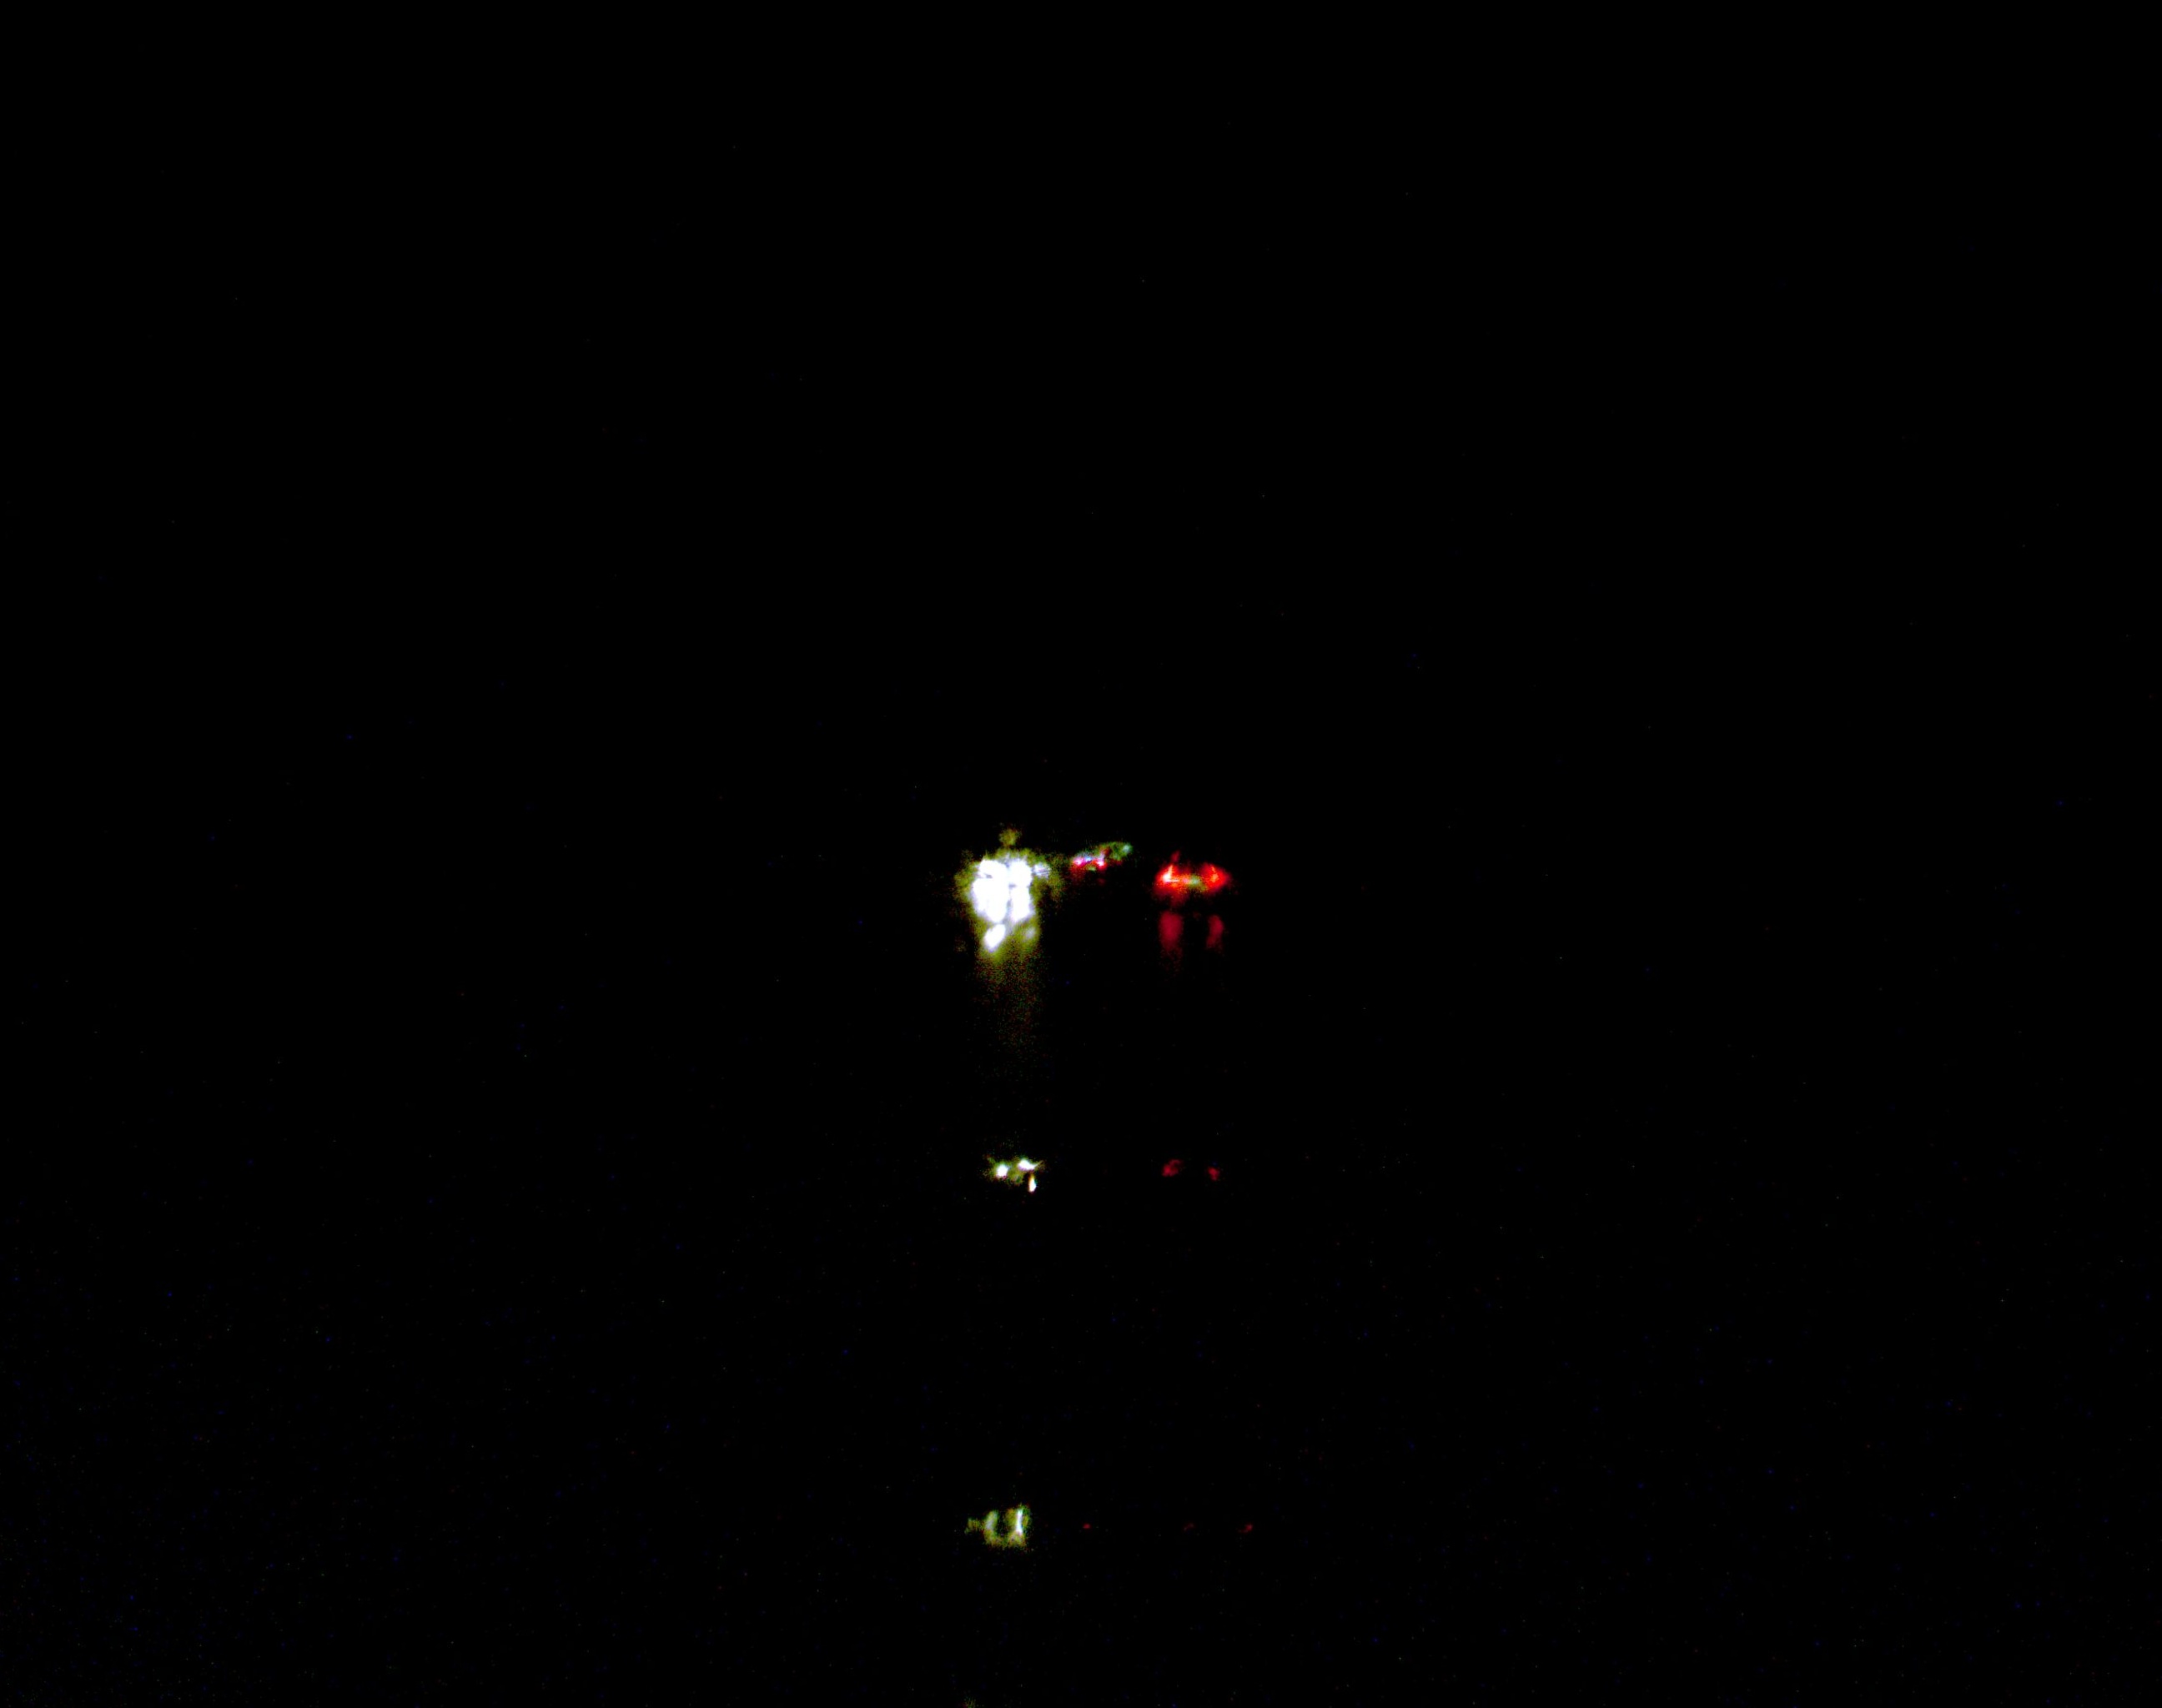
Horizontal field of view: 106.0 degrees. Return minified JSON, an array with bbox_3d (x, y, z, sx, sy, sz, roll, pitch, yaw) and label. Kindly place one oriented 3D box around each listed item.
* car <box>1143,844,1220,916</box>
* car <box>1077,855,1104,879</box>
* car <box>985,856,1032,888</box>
[{"bbox_3d":[3.012,0.743,25.118,2.084,2.013,4.004,-1,0,3],"label":"car"},{"bbox_3d":[0.680,0.915,58.838,1.803,1.621,4.000,-1,0,0],"label":"car"},{"bbox_3d":[-3.733,0.893,42.614,1.987,1.576,4.661,-1,0,1],"label":"car"}]
